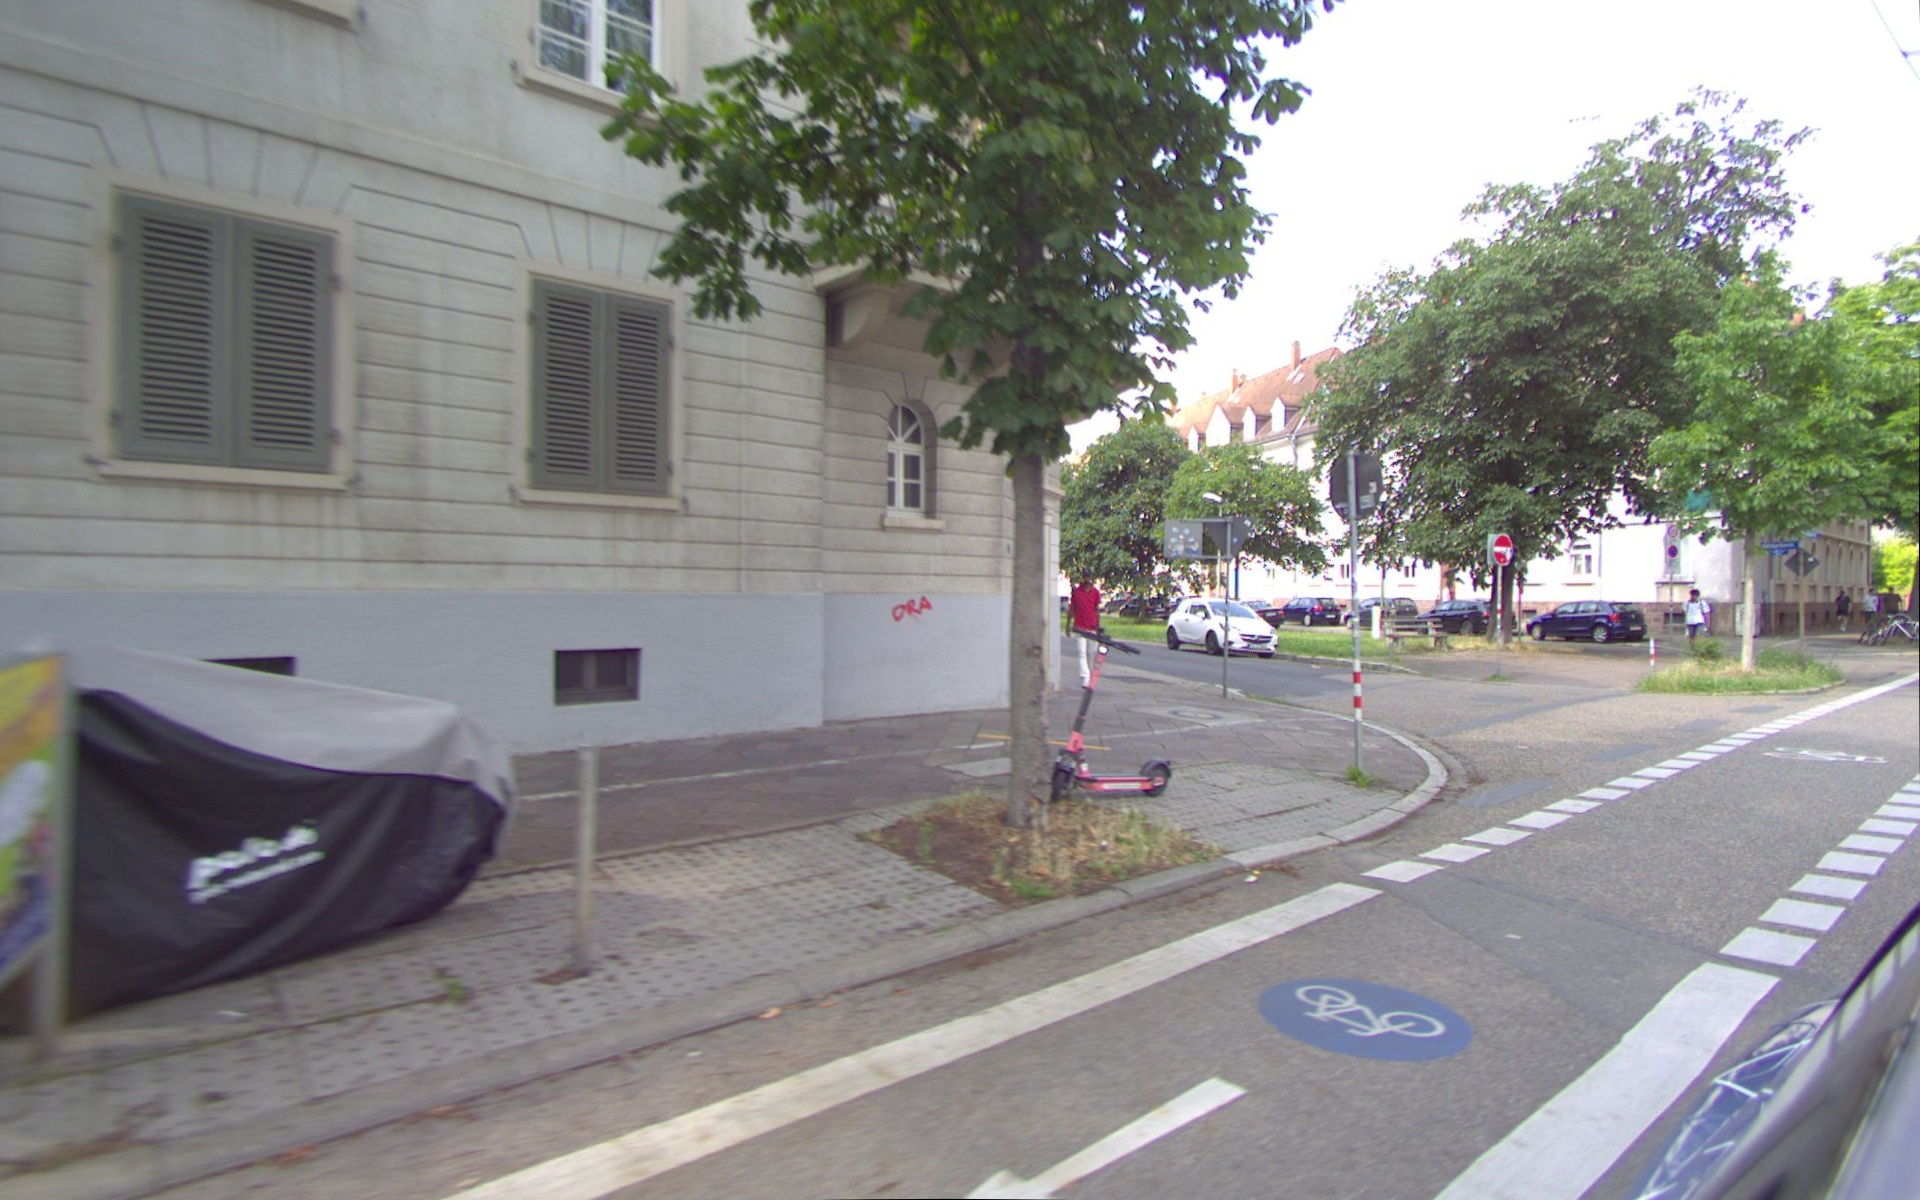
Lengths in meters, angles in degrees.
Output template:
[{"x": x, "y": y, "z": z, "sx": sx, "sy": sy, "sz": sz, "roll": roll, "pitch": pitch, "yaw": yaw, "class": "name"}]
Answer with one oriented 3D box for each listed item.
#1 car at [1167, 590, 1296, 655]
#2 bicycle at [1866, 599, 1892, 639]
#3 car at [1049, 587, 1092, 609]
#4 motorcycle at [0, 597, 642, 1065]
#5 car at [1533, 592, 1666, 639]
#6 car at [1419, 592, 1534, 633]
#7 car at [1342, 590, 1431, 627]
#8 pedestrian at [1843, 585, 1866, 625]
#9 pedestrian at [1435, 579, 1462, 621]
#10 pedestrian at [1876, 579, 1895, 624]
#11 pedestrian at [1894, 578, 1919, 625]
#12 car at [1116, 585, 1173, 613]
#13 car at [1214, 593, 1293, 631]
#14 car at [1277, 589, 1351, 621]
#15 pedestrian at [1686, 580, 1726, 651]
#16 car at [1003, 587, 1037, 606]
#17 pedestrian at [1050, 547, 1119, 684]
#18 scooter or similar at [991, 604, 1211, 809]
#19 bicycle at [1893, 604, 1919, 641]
[{"x": 7.068, "y": 0.535, "z": 26.733, "sx": 1.694, "sy": 1.517, "sz": 3.627, "roll": 2, "pitch": 0, "yaw": -14, "class": "car"}, {"x": 28.159, "y": 0.563, "z": 31.010, "sx": 0.584, "sy": 1.173, "sz": 1.808, "roll": 0, "pitch": 1, "yaw": 42, "class": "bicycle"}, {"x": 7.693, "y": -0.164, "z": 70.572, "sx": 1.613, "sy": 1.515, "sz": 4.008, "roll": -1, "pitch": 1, "yaw": -15, "class": "car"}, {"x": -2.508, "y": 0.673, "z": 3.748, "sx": 2.401, "sy": 1.338, "sz": 0.859, "roll": -1, "pitch": 1, "yaw": -40, "class": "motorcycle"}, {"x": 21.743, "y": 0.492, "z": 34.572, "sx": 1.695, "sy": 1.470, "sz": 3.582, "roll": 0, "pitch": 1, "yaw": -17, "class": "car"}, {"x": 20.426, "y": 0.449, "z": 40.203, "sx": 1.695, "sy": 1.470, "sz": 4.265, "roll": 0, "pitch": 1, "yaw": -13, "class": "car"}, {"x": 19.179, "y": 0.344, "z": 45.720, "sx": 1.695, "sy": 1.530, "sz": 3.940, "roll": 0, "pitch": 1, "yaw": -13, "class": "car"}, {"x": 37.361, "y": 0.188, "z": 42.255, "sx": 0.959, "sy": 1.660, "sz": 0.581, "roll": 0, "pitch": 0, "yaw": -41, "class": "pedestrian"}, {"x": 22.091, "y": -0.010, "z": 45.798, "sx": 0.810, "sy": 1.857, "sz": 0.732, "roll": 0, "pitch": 0, "yaw": -10, "class": "pedestrian"}, {"x": 38.753, "y": 0.070, "z": 42.390, "sx": 0.675, "sy": 1.876, "sz": 0.505, "roll": 0, "pitch": 0, "yaw": -41, "class": "pedestrian"}, {"x": 39.148, "y": 0.069, "z": 41.808, "sx": 0.870, "sy": 1.913, "sz": 0.755, "roll": 0, "pitch": 0, "yaw": -40, "class": "pedestrian"}, {"x": 10.397, "y": -0.067, "z": 57.286, "sx": 1.613, "sy": 1.515, "sz": 4.008, "roll": -1, "pitch": 1, "yaw": -15, "class": "car"}, {"x": 13.440, "y": 0.526, "z": 46.568, "sx": 1.696, "sy": 1.530, "sz": 3.940, "roll": -3, "pitch": 2, "yaw": -13, "class": "car"}, {"x": 17.841, "y": 0.236, "z": 51.184, "sx": 1.695, "sy": 1.530, "sz": 3.940, "roll": 0, "pitch": 1, "yaw": -13, "class": "car"}, {"x": 19.904, "y": 0.406, "z": 27.006, "sx": 1.012, "sy": 1.857, "sz": 0.619, "roll": 0, "pitch": 0, "yaw": -39, "class": "pedestrian"}, {"x": 4.865, "y": -0.276, "z": 82.131, "sx": 1.613, "sy": 1.515, "sz": 4.008, "roll": -1, "pitch": 1, "yaw": -14, "class": "car"}, {"x": 1.883, "y": 0.231, "z": 15.356, "sx": 0.886, "sy": 1.961, "sz": 0.976, "roll": 4, "pitch": -1, "yaw": 7, "class": "pedestrian"}, {"x": 1.033, "y": 0.680, "z": 7.158, "sx": 1.689, "sy": 1.266, "sz": 0.533, "roll": -1, "pitch": 2, "yaw": -40, "class": "scooter or similar"}, {"x": 28.901, "y": 0.679, "z": 30.374, "sx": 0.470, "sy": 1.079, "sz": 1.270, "roll": 0, "pitch": 1, "yaw": -40, "class": "bicycle"}]
